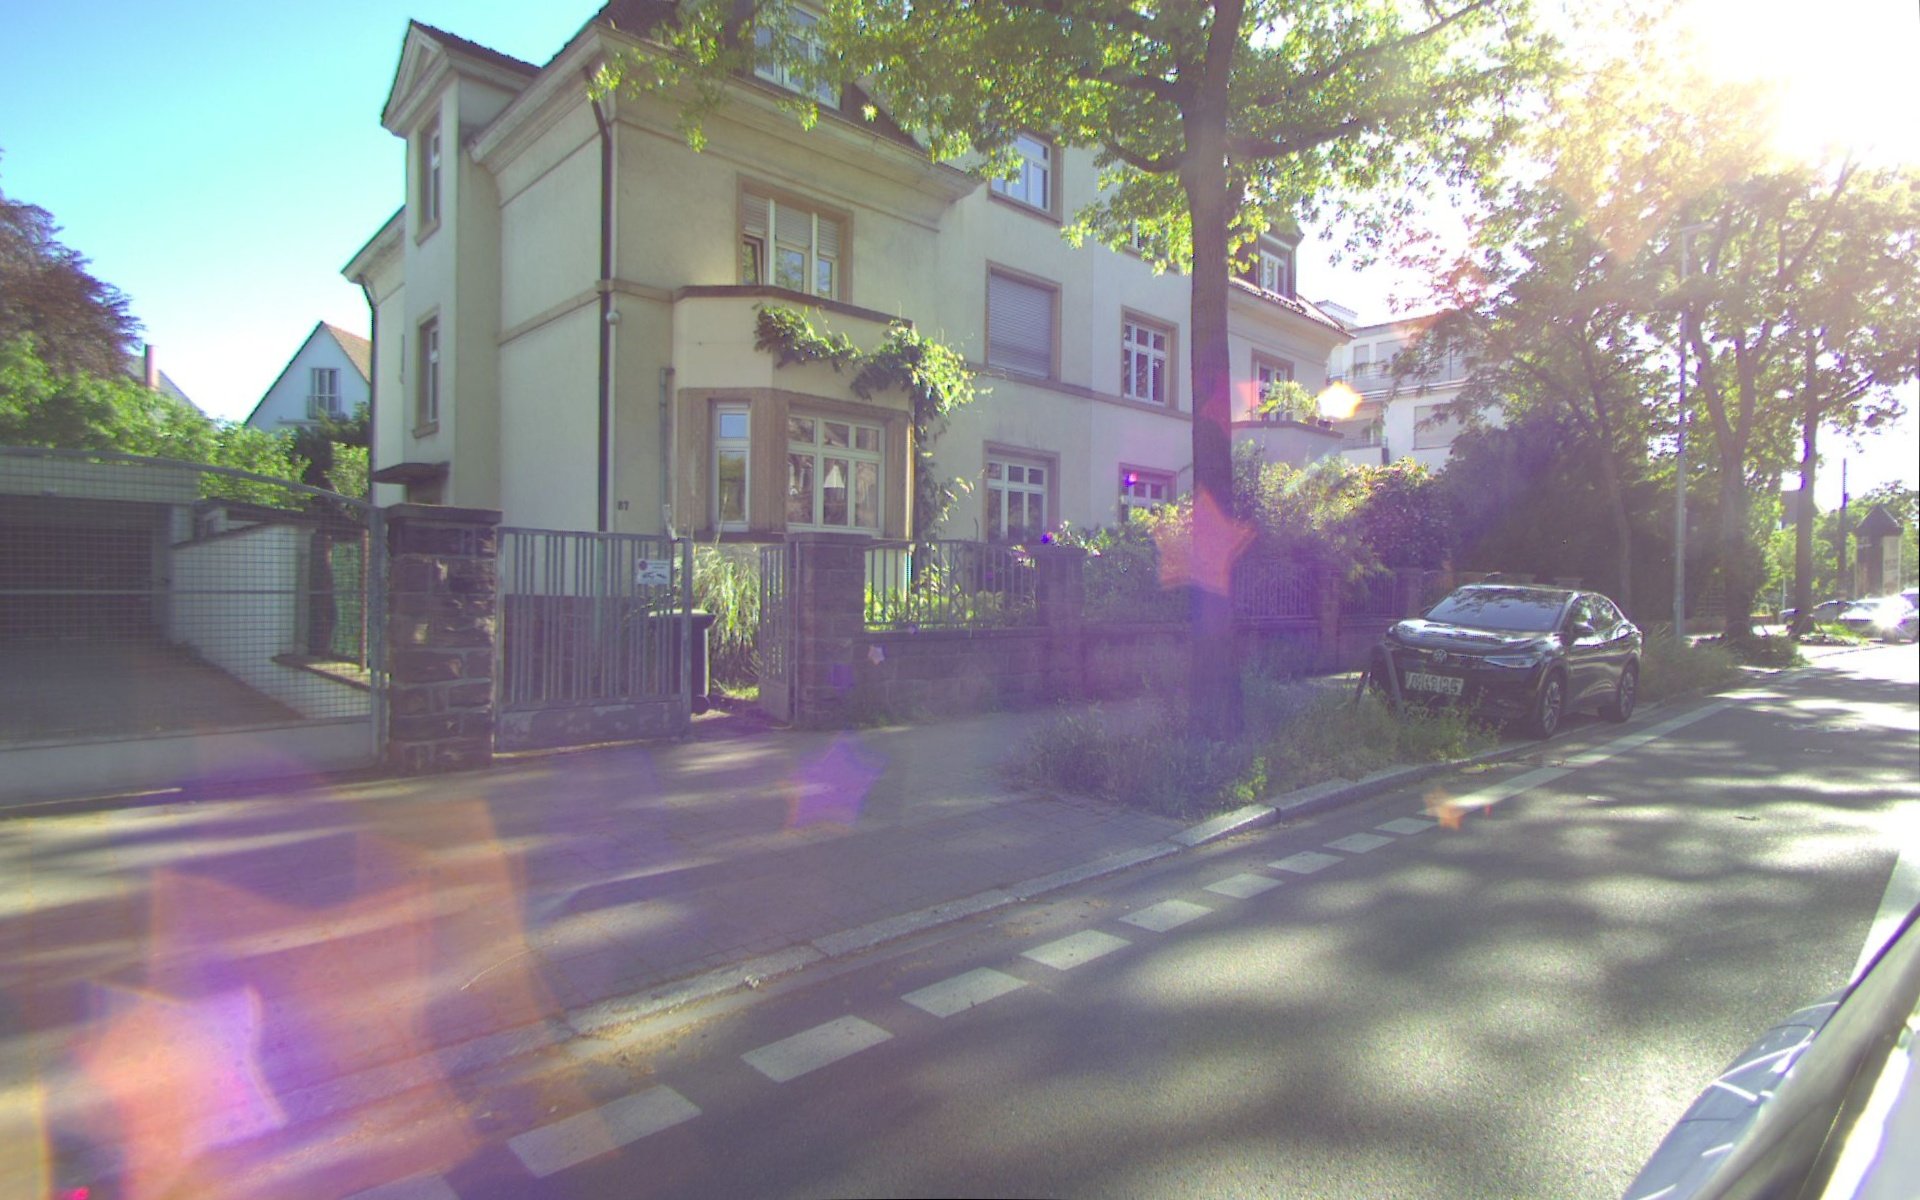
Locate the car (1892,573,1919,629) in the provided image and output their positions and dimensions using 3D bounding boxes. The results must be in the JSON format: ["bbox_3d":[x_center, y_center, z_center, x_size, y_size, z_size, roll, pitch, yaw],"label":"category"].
[{"bbox_3d":[36.783,0.049,38.086,4.503,2.039,1.997,0,1,-41],"label":"car"}]

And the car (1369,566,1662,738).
[{"bbox_3d":[6.721,0.495,12.072,4.021,1.626,1.743,0,4,-42],"label":"car"}]

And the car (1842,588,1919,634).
[{"bbox_3d":[31.548,0.336,34.424,3.930,1.469,1.785,0,1,-41],"label":"car"}]

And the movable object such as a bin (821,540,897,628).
[{"bbox_3d":[-1.300,-0.199,12.834,0.697,1.070,1.093,0,0,-20],"label":"movable object such as a bin"}]
